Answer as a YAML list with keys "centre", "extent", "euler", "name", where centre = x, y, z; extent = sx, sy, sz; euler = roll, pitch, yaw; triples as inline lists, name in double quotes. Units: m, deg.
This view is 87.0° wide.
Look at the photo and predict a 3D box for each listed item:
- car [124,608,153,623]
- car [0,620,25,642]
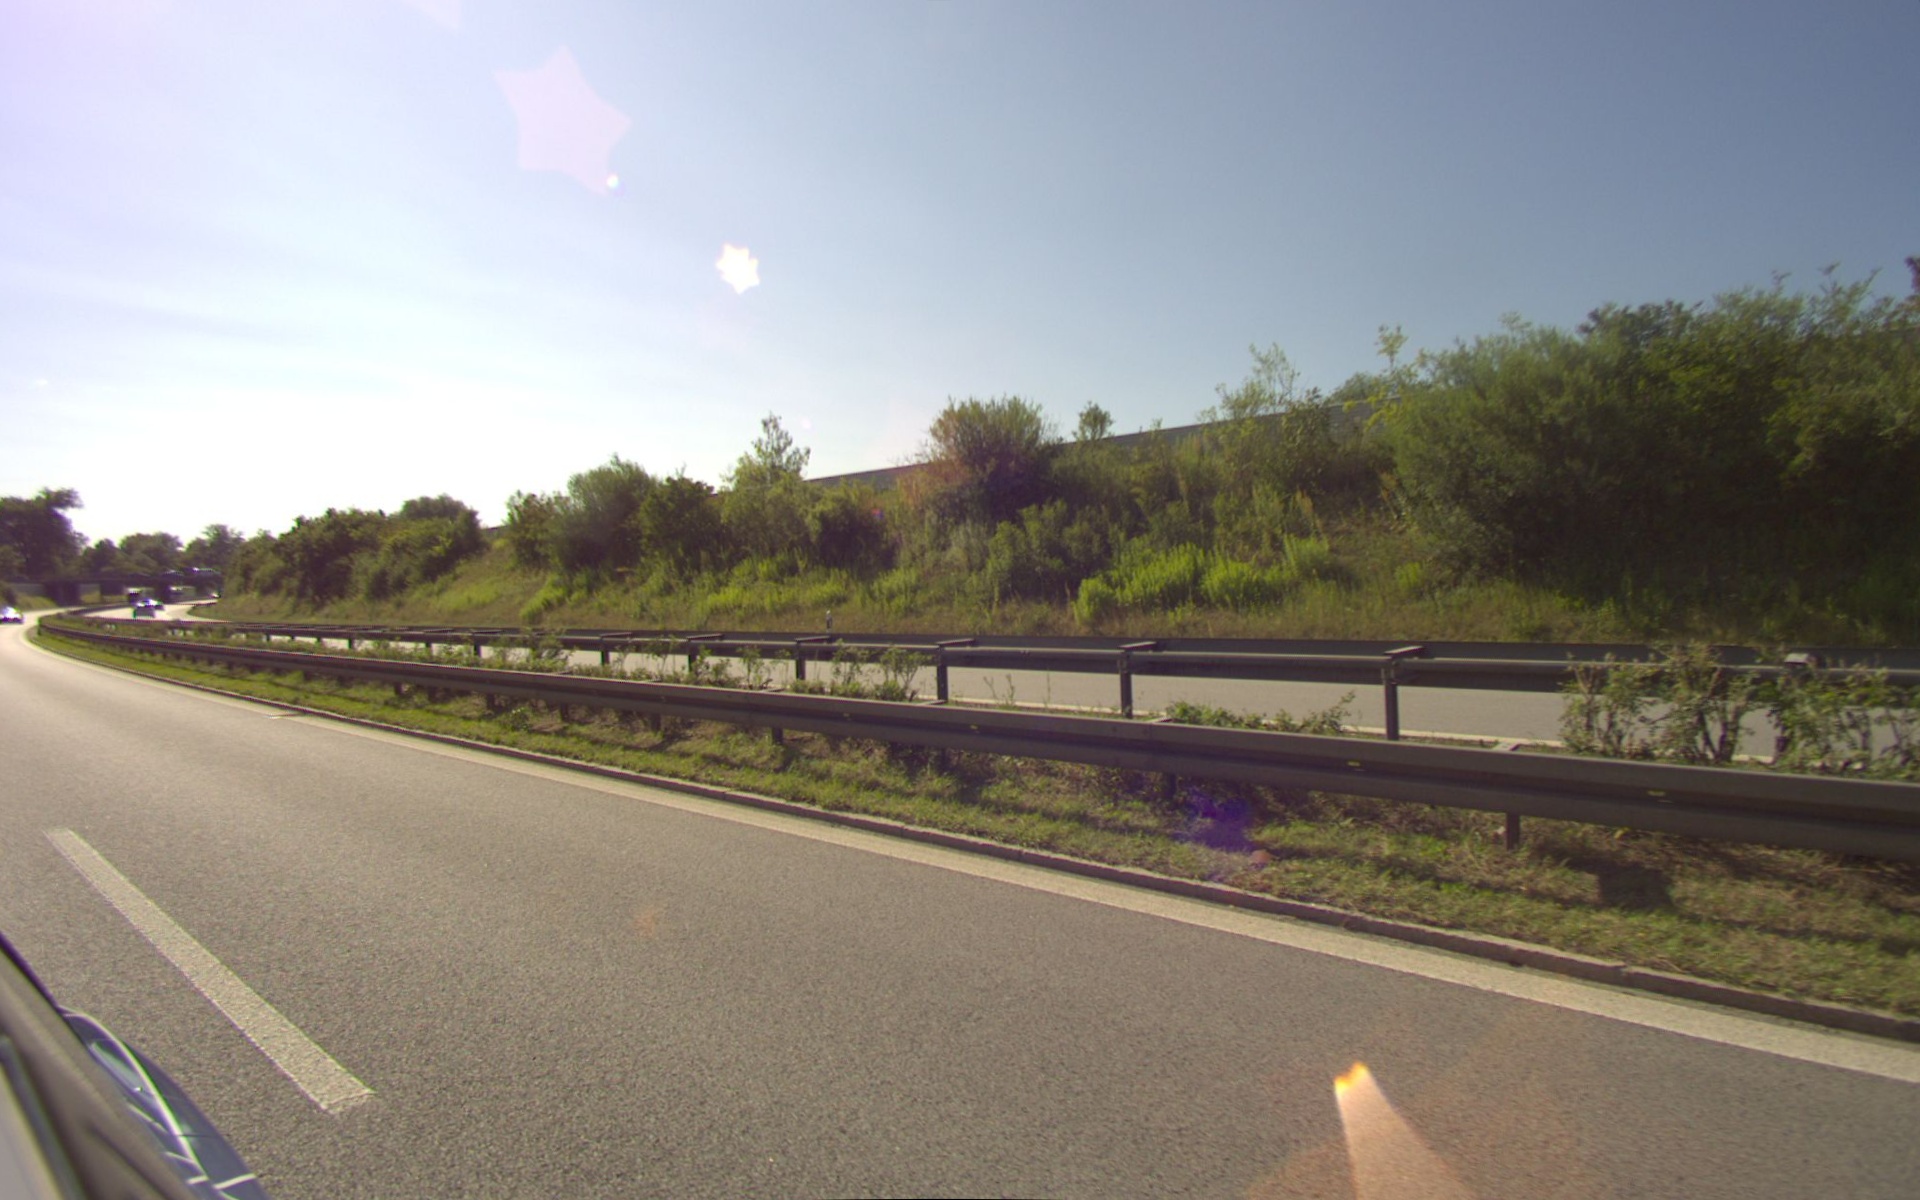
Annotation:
- centre: [-84.945, 1.606, 104.663]
  extent: [4.400, 1.433, 1.878]
  euler: [-1, -1, 45]
  name: "car"
- centre: [-93.699, 3.017, 99.668]
  extent: [4.601, 2.028, 1.972]
  euler: [-1, 2, 44]
  name: "car"
